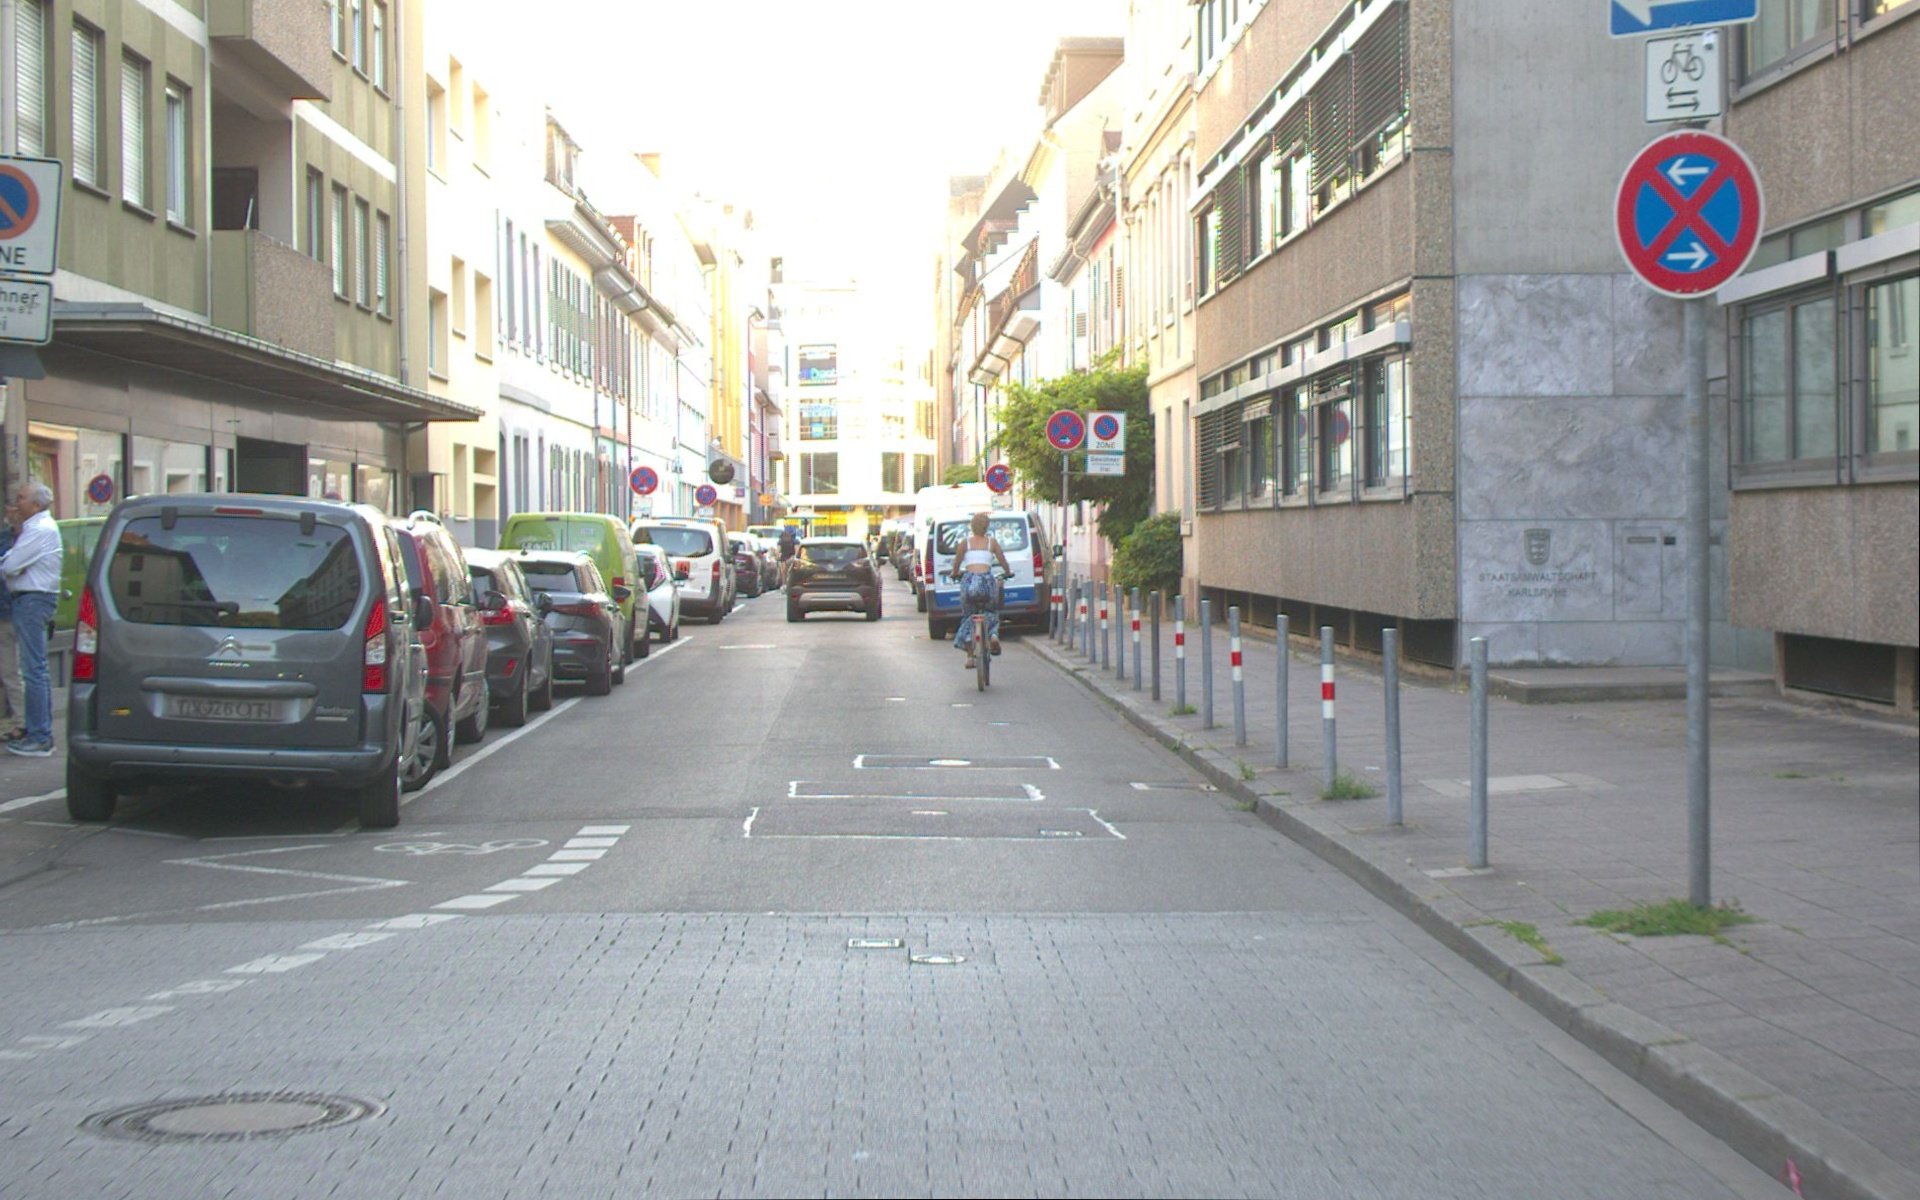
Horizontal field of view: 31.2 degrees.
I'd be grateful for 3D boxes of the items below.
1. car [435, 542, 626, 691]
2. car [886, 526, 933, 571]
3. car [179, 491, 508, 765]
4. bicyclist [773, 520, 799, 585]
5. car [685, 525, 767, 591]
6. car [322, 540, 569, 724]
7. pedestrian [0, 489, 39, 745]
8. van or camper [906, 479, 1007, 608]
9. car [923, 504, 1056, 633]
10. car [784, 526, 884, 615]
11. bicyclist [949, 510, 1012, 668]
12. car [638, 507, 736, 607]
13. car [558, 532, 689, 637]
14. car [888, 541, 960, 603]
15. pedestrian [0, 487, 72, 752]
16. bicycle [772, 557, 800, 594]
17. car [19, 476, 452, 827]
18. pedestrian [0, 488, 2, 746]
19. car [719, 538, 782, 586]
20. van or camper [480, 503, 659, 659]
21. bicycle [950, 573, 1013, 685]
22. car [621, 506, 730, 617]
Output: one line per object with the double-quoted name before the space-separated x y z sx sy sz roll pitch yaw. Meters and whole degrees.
"car" -4.300 0.129 34.872 1.624 1.411 3.981 1 1 -3
"car" -1.835 -1.859 123.938 1.653 1.555 3.606 1 1 -1
"car" -4.395 0.145 25.113 1.772 1.805 4.511 1 1 -3
"bicyclist" -4.417 -1.214 87.481 0.623 1.634 1.081 0 1 -1
"car" -6.040 -1.103 89.262 1.803 1.671 4.490 0 1 0
"car" -4.406 0.227 29.900 1.624 1.479 3.878 -1 1 -1
"pedestrian" -6.602 0.111 23.635 0.406 1.744 0.470 0 1 0
"van or camper" -0.098 -1.231 73.814 2.050 2.628 7.063 0 1 0
"car" 0.413 -0.523 53.956 1.936 1.891 5.277 -1 1 -1
"car" -2.393 -0.581 65.592 1.819 1.612 4.000 1 1 -2
"bicyclist" 0.200 -0.115 34.634 0.621 1.569 0.683 0 1 0
"car" -5.666 -0.925 71.796 1.862 2.007 4.814 0 1 -3
"car" -5.052 -0.260 51.938 1.662 1.444 3.521 3 1 -2
"car" -0.962 -0.778 93.692 1.819 1.525 5.071 -4 1 0
"pedestrian" -6.183 0.126 22.833 0.449 1.744 0.470 0 1 0
"bicycle" -4.422 -0.620 87.477 0.634 0.919 1.779 0 1 -1
"car" -4.069 0.229 19.986 1.876 1.805 4.451 0 1 -4
"pedestrian" -6.696 0.120 23.066 0.406 1.744 0.470 0 1 0
"car" -6.502 -1.199 107.004 1.918 1.429 4.294 1 1 -3
"van or camper" -4.822 -0.265 42.912 1.772 1.842 4.178 -1 1 0
"bicycle" 0.209 0.280 34.614 0.613 1.078 1.809 0 1 0
"car" -5.350 -0.752 65.130 1.862 2.007 5.107 0 1 -3
